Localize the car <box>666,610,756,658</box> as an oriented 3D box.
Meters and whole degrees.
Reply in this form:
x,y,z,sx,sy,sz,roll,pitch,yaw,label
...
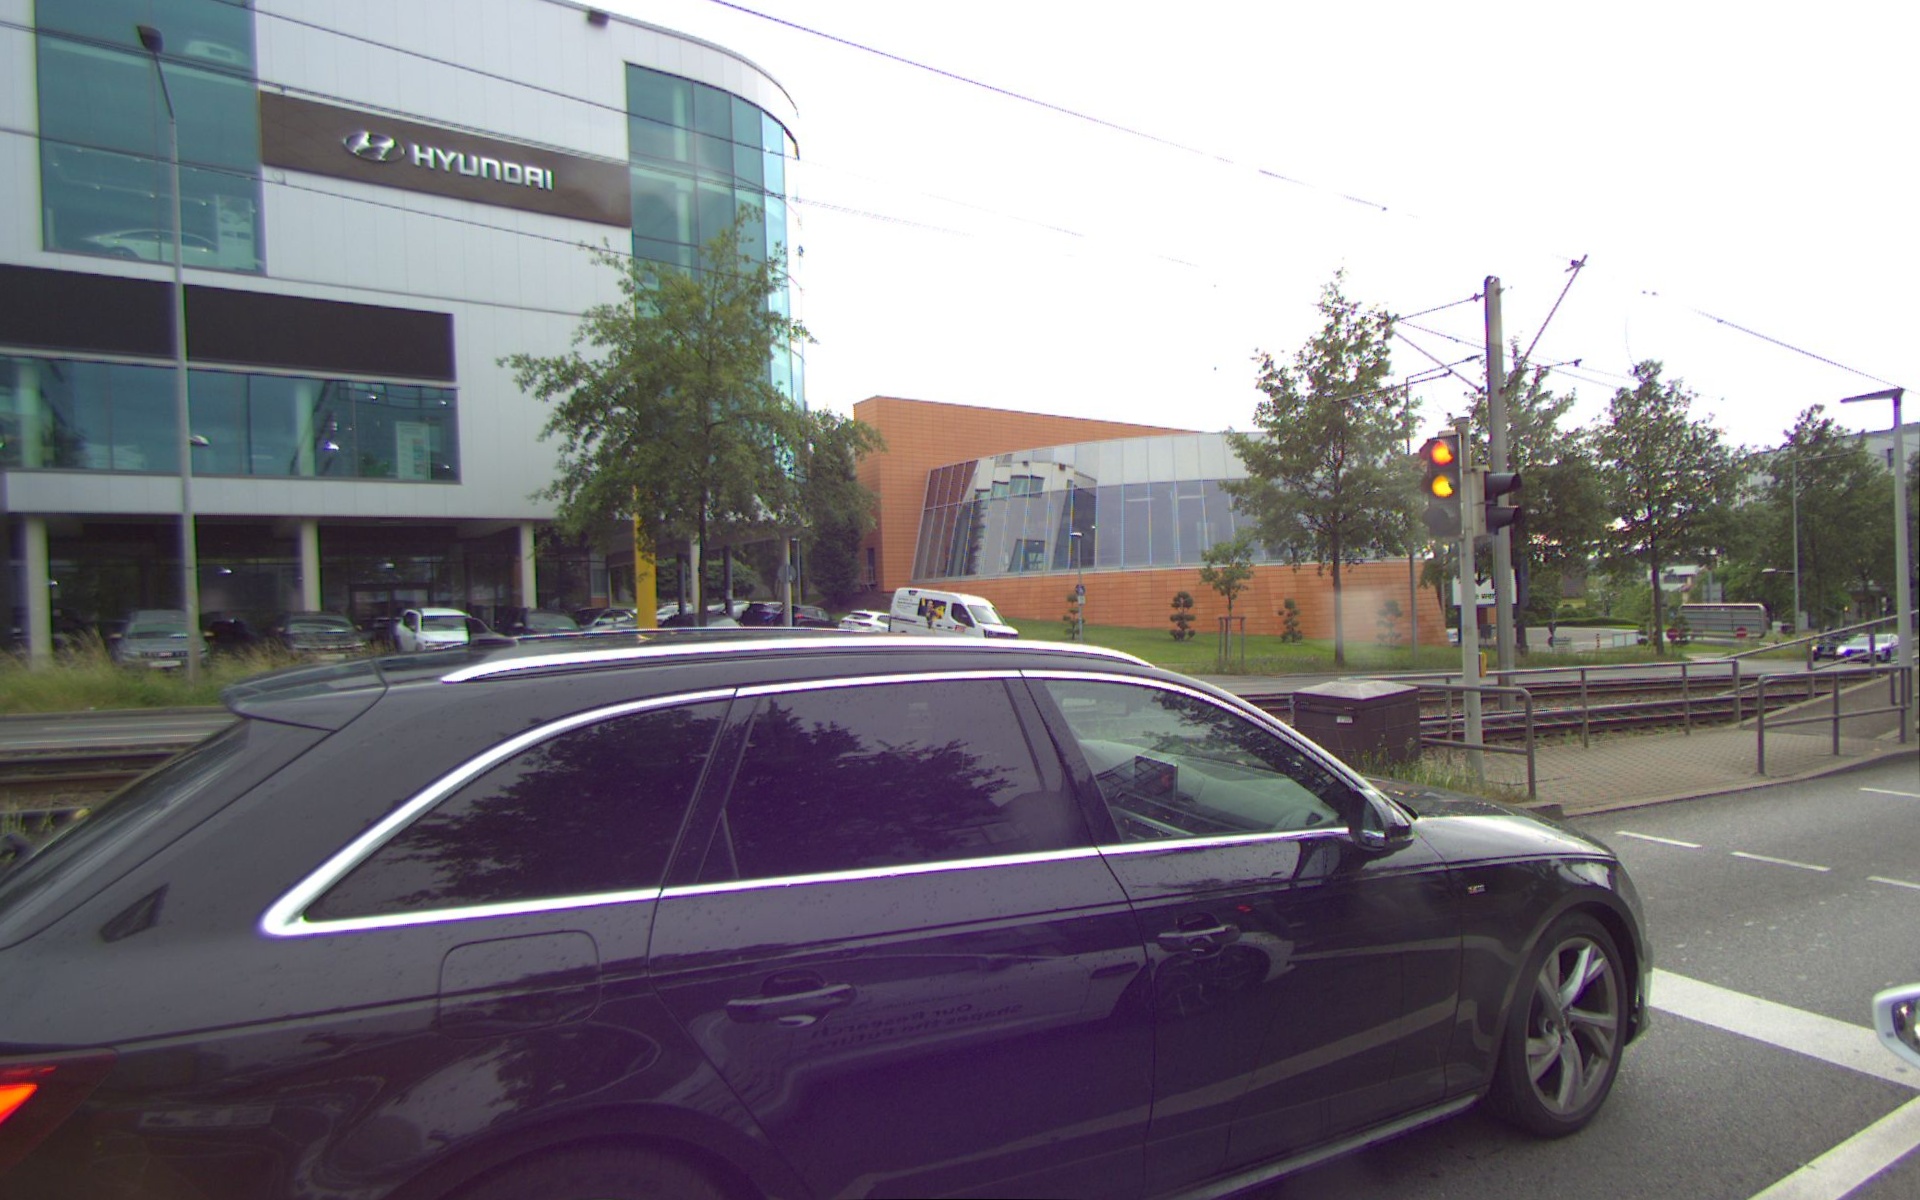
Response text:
x,y,z,sx,sy,sz,roll,pitch,yaw,label
-7.913,1.020,31.726,1.565,1.409,3.619,0,-1,-36,car

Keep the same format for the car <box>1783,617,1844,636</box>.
x,y,z,sx,sy,sz,roll,pitch,yaw,label
64.451,2.005,75.932,1.408,1.405,3.371,0,0,-13,car

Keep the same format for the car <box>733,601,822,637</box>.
x,y,z,sx,sy,sz,roll,pitch,yaw,label
-8.868,0.911,49.083,1.969,1.653,3.982,0,-1,39,car

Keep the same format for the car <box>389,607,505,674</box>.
x,y,z,sx,sy,sz,roll,pitch,yaw,label
-14.499,1.075,28.250,1.984,1.571,4.324,1,1,-40,car

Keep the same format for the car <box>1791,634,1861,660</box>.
x,y,z,sx,sy,sz,roll,pitch,yaw,label
45.534,2.425,52.792,3.922,1.253,1.642,0,0,-30,car

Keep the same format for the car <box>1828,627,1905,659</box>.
x,y,z,sx,sy,sz,roll,pitch,yaw,label
42.907,2.027,47.535,3.835,1.455,1.642,1,-3,-31,car

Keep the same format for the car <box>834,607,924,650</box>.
x,y,z,sx,sy,sz,roll,pitch,yaw,label
-3.340,1.163,42.164,1.703,1.688,3.734,1,-1,38,car

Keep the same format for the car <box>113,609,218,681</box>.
x,y,z,sx,sy,sz,roll,pitch,yaw,label
-19.867,1.060,25.069,1.917,1.479,3.974,1,1,-40,car

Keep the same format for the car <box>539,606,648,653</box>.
x,y,z,sx,sy,sz,roll,pitch,yaw,label
-12.833,1.013,35.344,1.691,1.572,3.587,0,-1,20,car

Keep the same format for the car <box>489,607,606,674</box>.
x,y,z,sx,sy,sz,roll,pitch,yaw,label
-12.322,1.138,29.866,1.984,1.637,4.324,1,1,-40,car

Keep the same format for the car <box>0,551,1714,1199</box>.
x,y,z,sx,sy,sz,roll,pitch,yaw,label
0.075,0.721,2.871,4.461,1.486,1.772,1,-1,-31,car

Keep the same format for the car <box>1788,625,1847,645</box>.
x,y,z,sx,sy,sz,roll,pitch,yaw,label
66.568,2.704,78.019,1.408,1.405,3.371,0,0,-13,car

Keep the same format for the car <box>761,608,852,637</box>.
x,y,z,sx,sy,sz,roll,pitch,yaw,label
-7.218,1.065,47.518,1.969,1.297,3.982,0,-1,39,car

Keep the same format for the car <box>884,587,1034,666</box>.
x,y,z,sx,sy,sz,roll,pitch,yaw,label
-0.120,0.916,38.114,5.544,2.616,2.392,3,1,43,car

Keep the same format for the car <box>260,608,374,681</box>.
x,y,z,sx,sy,sz,roll,pitch,yaw,label
-16.957,1.106,26.395,1.984,1.571,4.324,1,1,-40,car
